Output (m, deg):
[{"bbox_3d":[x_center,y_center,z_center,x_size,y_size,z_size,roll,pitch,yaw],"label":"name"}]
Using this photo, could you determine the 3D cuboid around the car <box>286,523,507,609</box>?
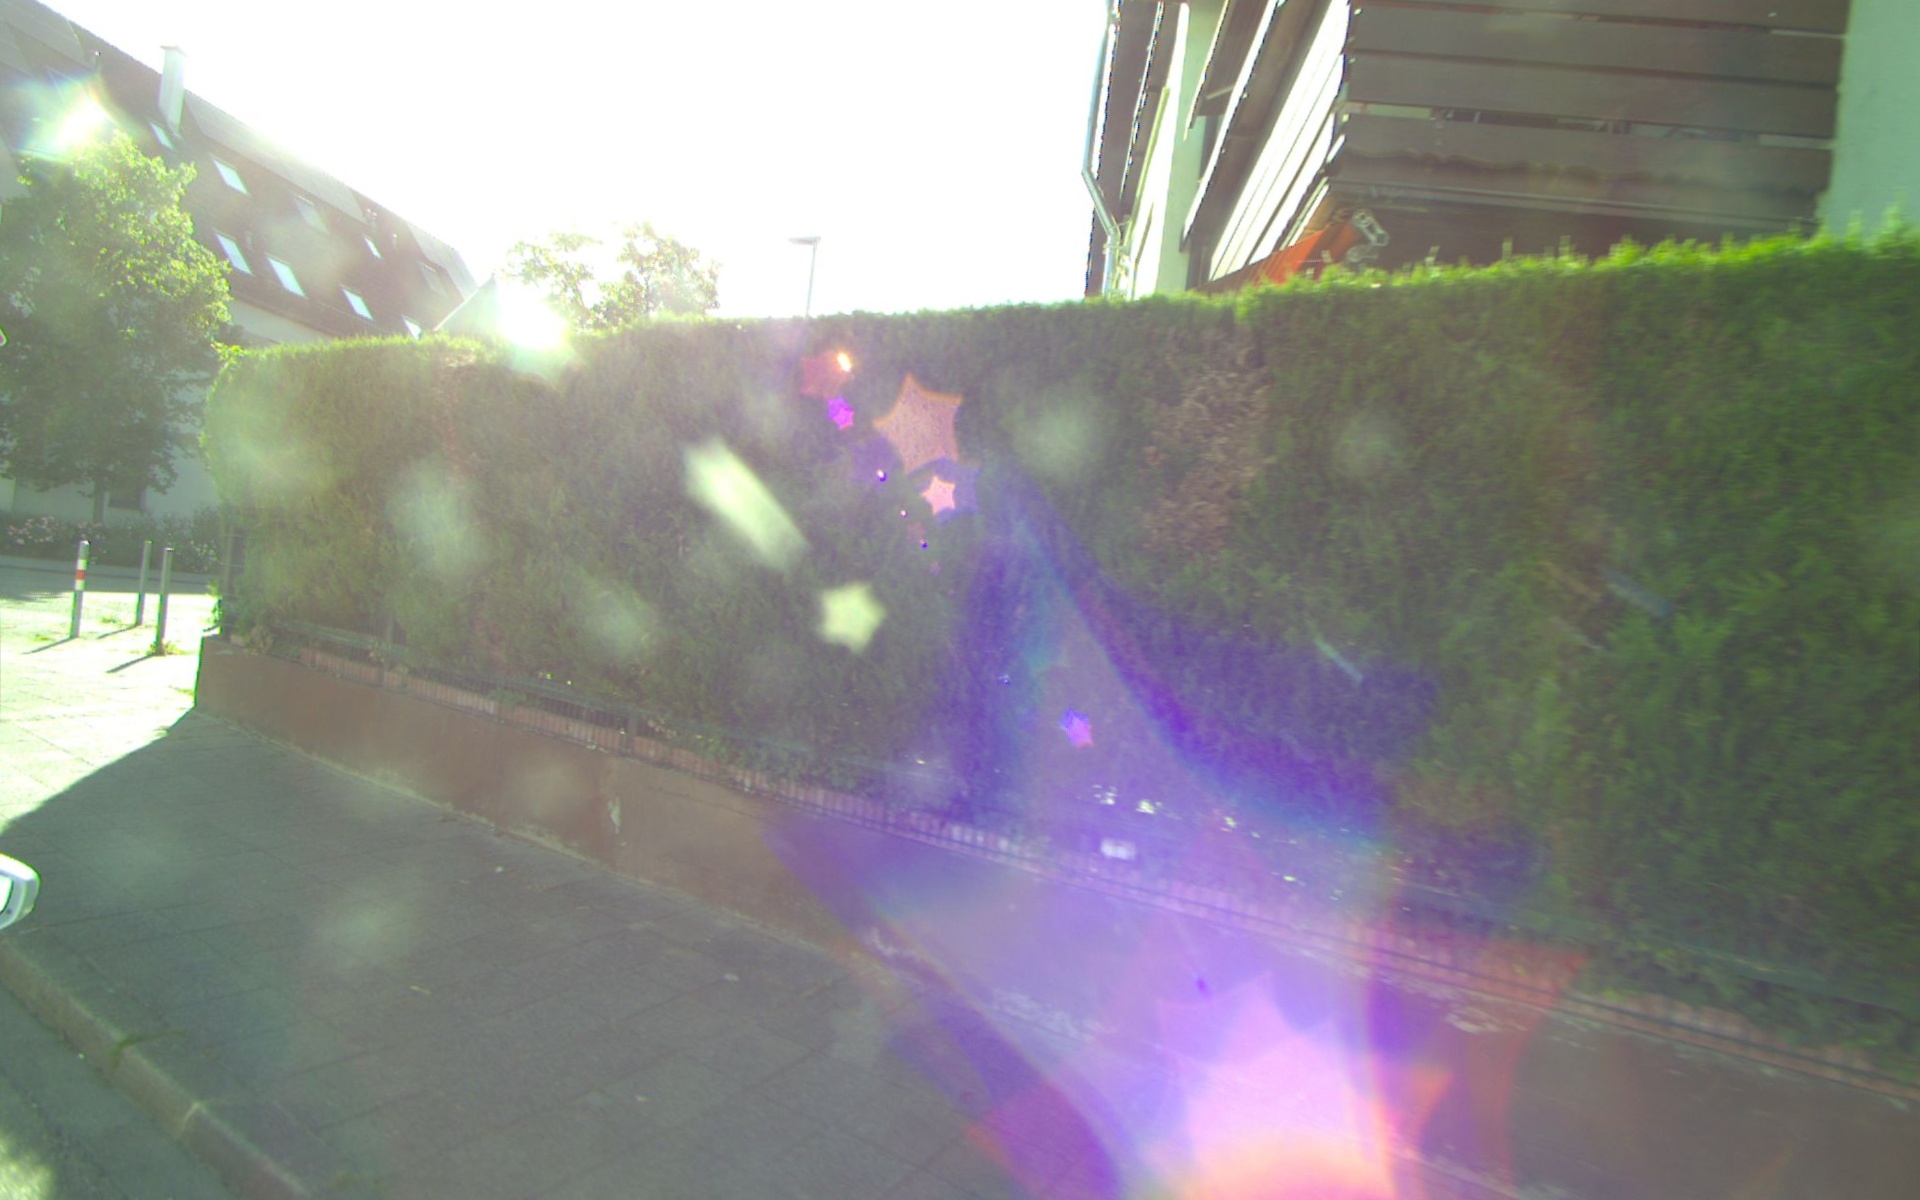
[{"bbox_3d":[-13.278,-0.734,24.017,1.782,1.512,4.302,7,0,24],"label":"car"}]

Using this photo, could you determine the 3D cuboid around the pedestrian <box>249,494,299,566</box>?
[{"bbox_3d":[-20.681,-2.106,30.340,0.752,2.039,0.775,7,1,18],"label":"pedestrian"}]
